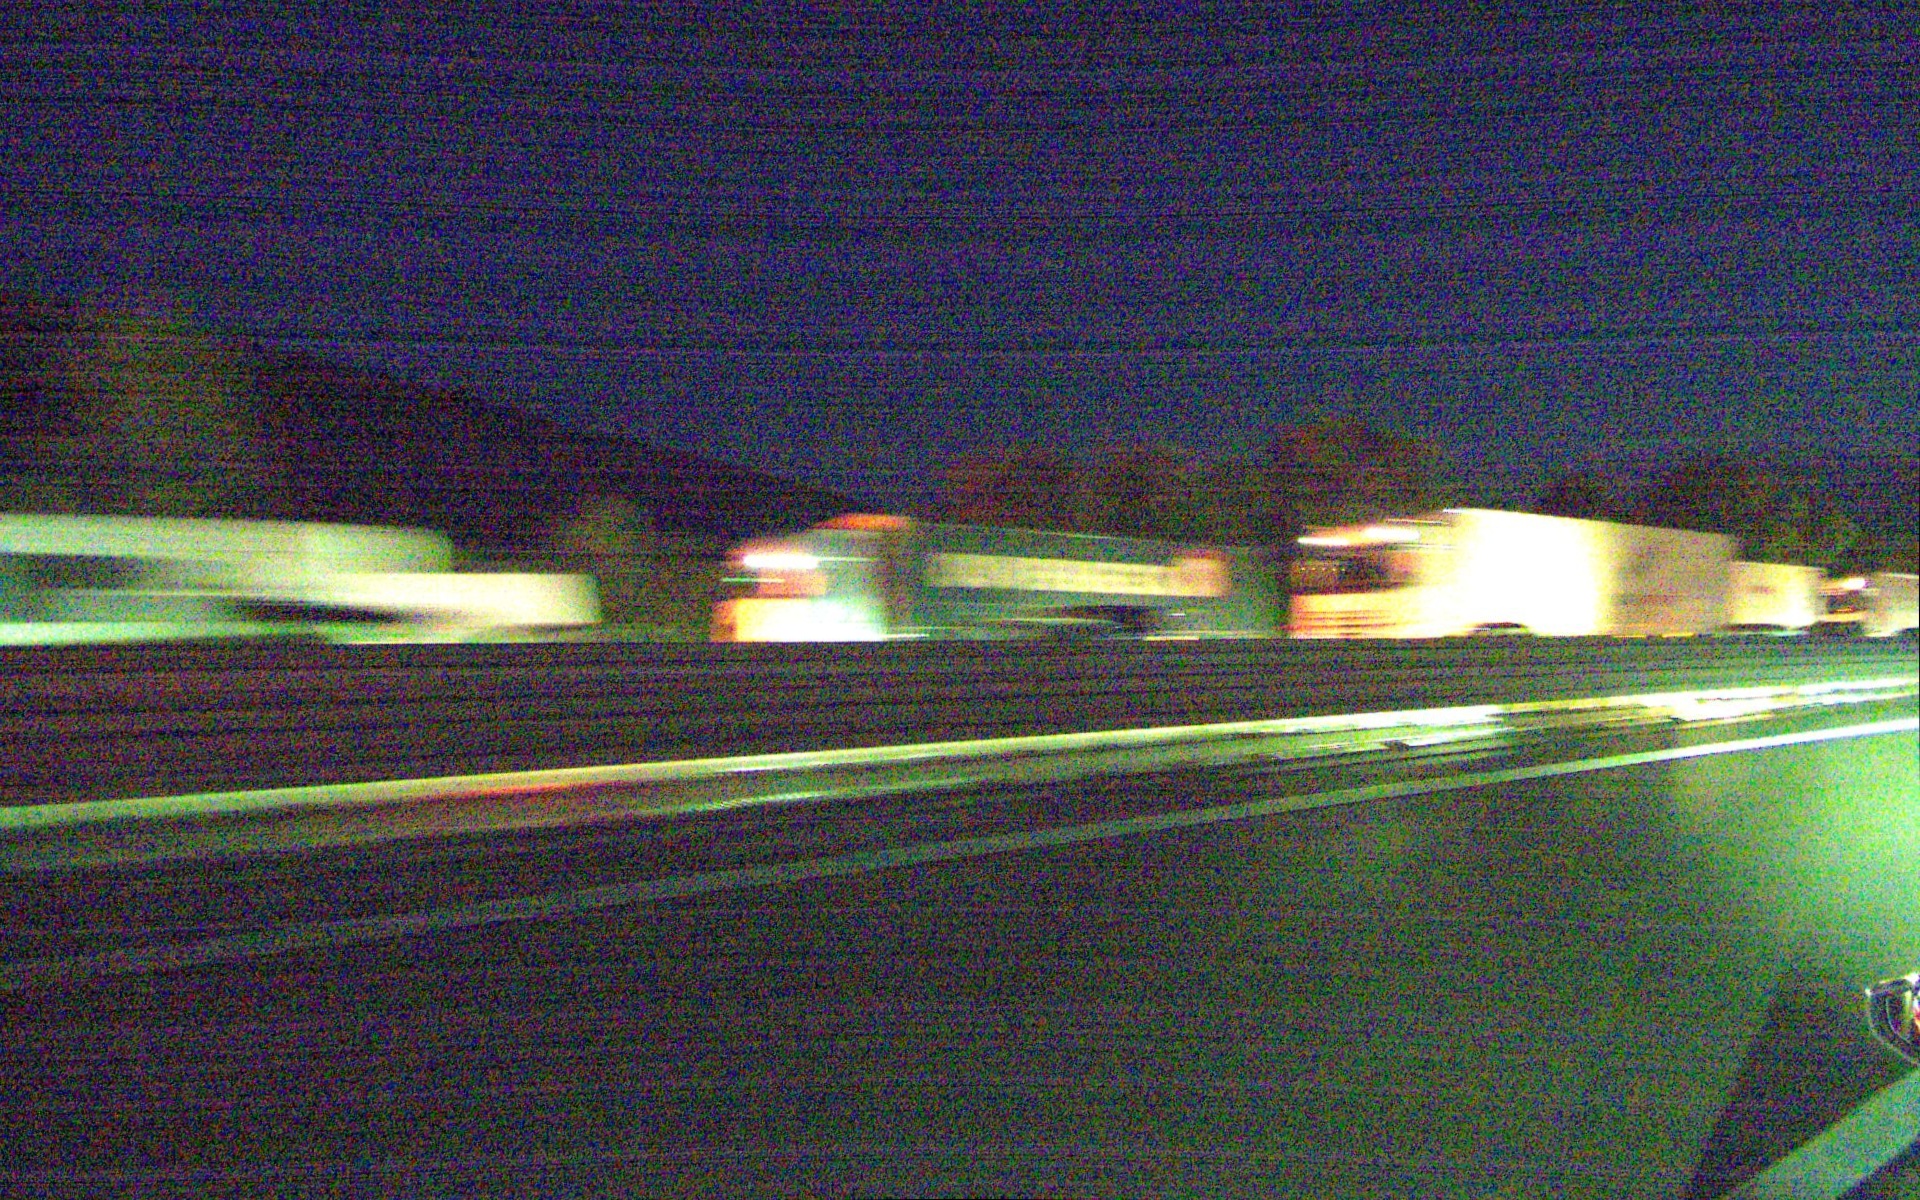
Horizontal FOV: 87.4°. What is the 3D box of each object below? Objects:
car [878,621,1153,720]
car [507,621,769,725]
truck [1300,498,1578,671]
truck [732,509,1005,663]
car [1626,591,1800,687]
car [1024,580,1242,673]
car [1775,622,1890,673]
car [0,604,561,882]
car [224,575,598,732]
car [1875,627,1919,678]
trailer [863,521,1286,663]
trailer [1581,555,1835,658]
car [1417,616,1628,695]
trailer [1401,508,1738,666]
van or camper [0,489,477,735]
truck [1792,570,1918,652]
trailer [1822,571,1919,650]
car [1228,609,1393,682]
[{"bbox_3d":[1.025,1.196,17.564,4.591,1.505,1.722,2,0,-30],"label":"car"},{"bbox_3d":[-5.952,1.305,18.687,4.266,1.668,1.983,2,0,-32],"label":"car"},{"bbox_3d":[11.773,-0.227,24.537,6.704,3.722,2.859,2,0,-31],"label":"truck"},{"bbox_3d":[-2.288,-0.261,25.687,6.289,3.488,2.945,1,0,-31],"label":"truck"},{"bbox_3d":[17.625,0.894,23.489,3.957,2.040,1.982,2,0,-33],"label":"car"},{"bbox_3d":[4.243,0.660,24.313,5.186,2.040,1.983,2,0,-32],"label":"car"},{"bbox_3d":[32.340,1.761,37.208,4.457,1.708,1.983,2,0,-32],"label":"car"},{"bbox_3d":[-6.017,1.132,9.351,3.956,2.040,1.983,2,0,-32],"label":"car"},{"bbox_3d":[-10.837,0.967,20.289,6.287,2.755,2.301,1,0,-32],"label":"car"},{"bbox_3d":[40.912,2.231,42.678,3.955,2.040,1.983,2,0,-32],"label":"car"},{"bbox_3d":[3.800,-0.058,29.382,13.283,3.488,2.945,1,-1,-31],"label":"trailer"},{"bbox_3d":[31.025,0.330,41.215,15.062,3.720,2.871,1,0,-31],"label":"trailer"},{"bbox_3d":[11.164,1.080,19.911,3.956,1.377,1.983,2,0,-32],"label":"car"},{"bbox_3d":[17.372,-0.106,28.081,12.081,3.720,2.870,2,0,-32],"label":"trailer"},{"bbox_3d":[-10.177,0.172,12.276,7.522,2.666,2.072,1,-2,-33],"label":"van or camper"},{"bbox_3d":[43.167,0.545,48.443,5.980,3.722,2.860,1,0,-30],"label":"truck"},{"bbox_3d":[49.330,0.697,52.213,12.898,3.720,2.871,2,0,-31],"label":"trailer"},{"bbox_3d":[9.765,1.247,27.906,4.451,1.847,1.983,2,0,-32],"label":"car"}]
